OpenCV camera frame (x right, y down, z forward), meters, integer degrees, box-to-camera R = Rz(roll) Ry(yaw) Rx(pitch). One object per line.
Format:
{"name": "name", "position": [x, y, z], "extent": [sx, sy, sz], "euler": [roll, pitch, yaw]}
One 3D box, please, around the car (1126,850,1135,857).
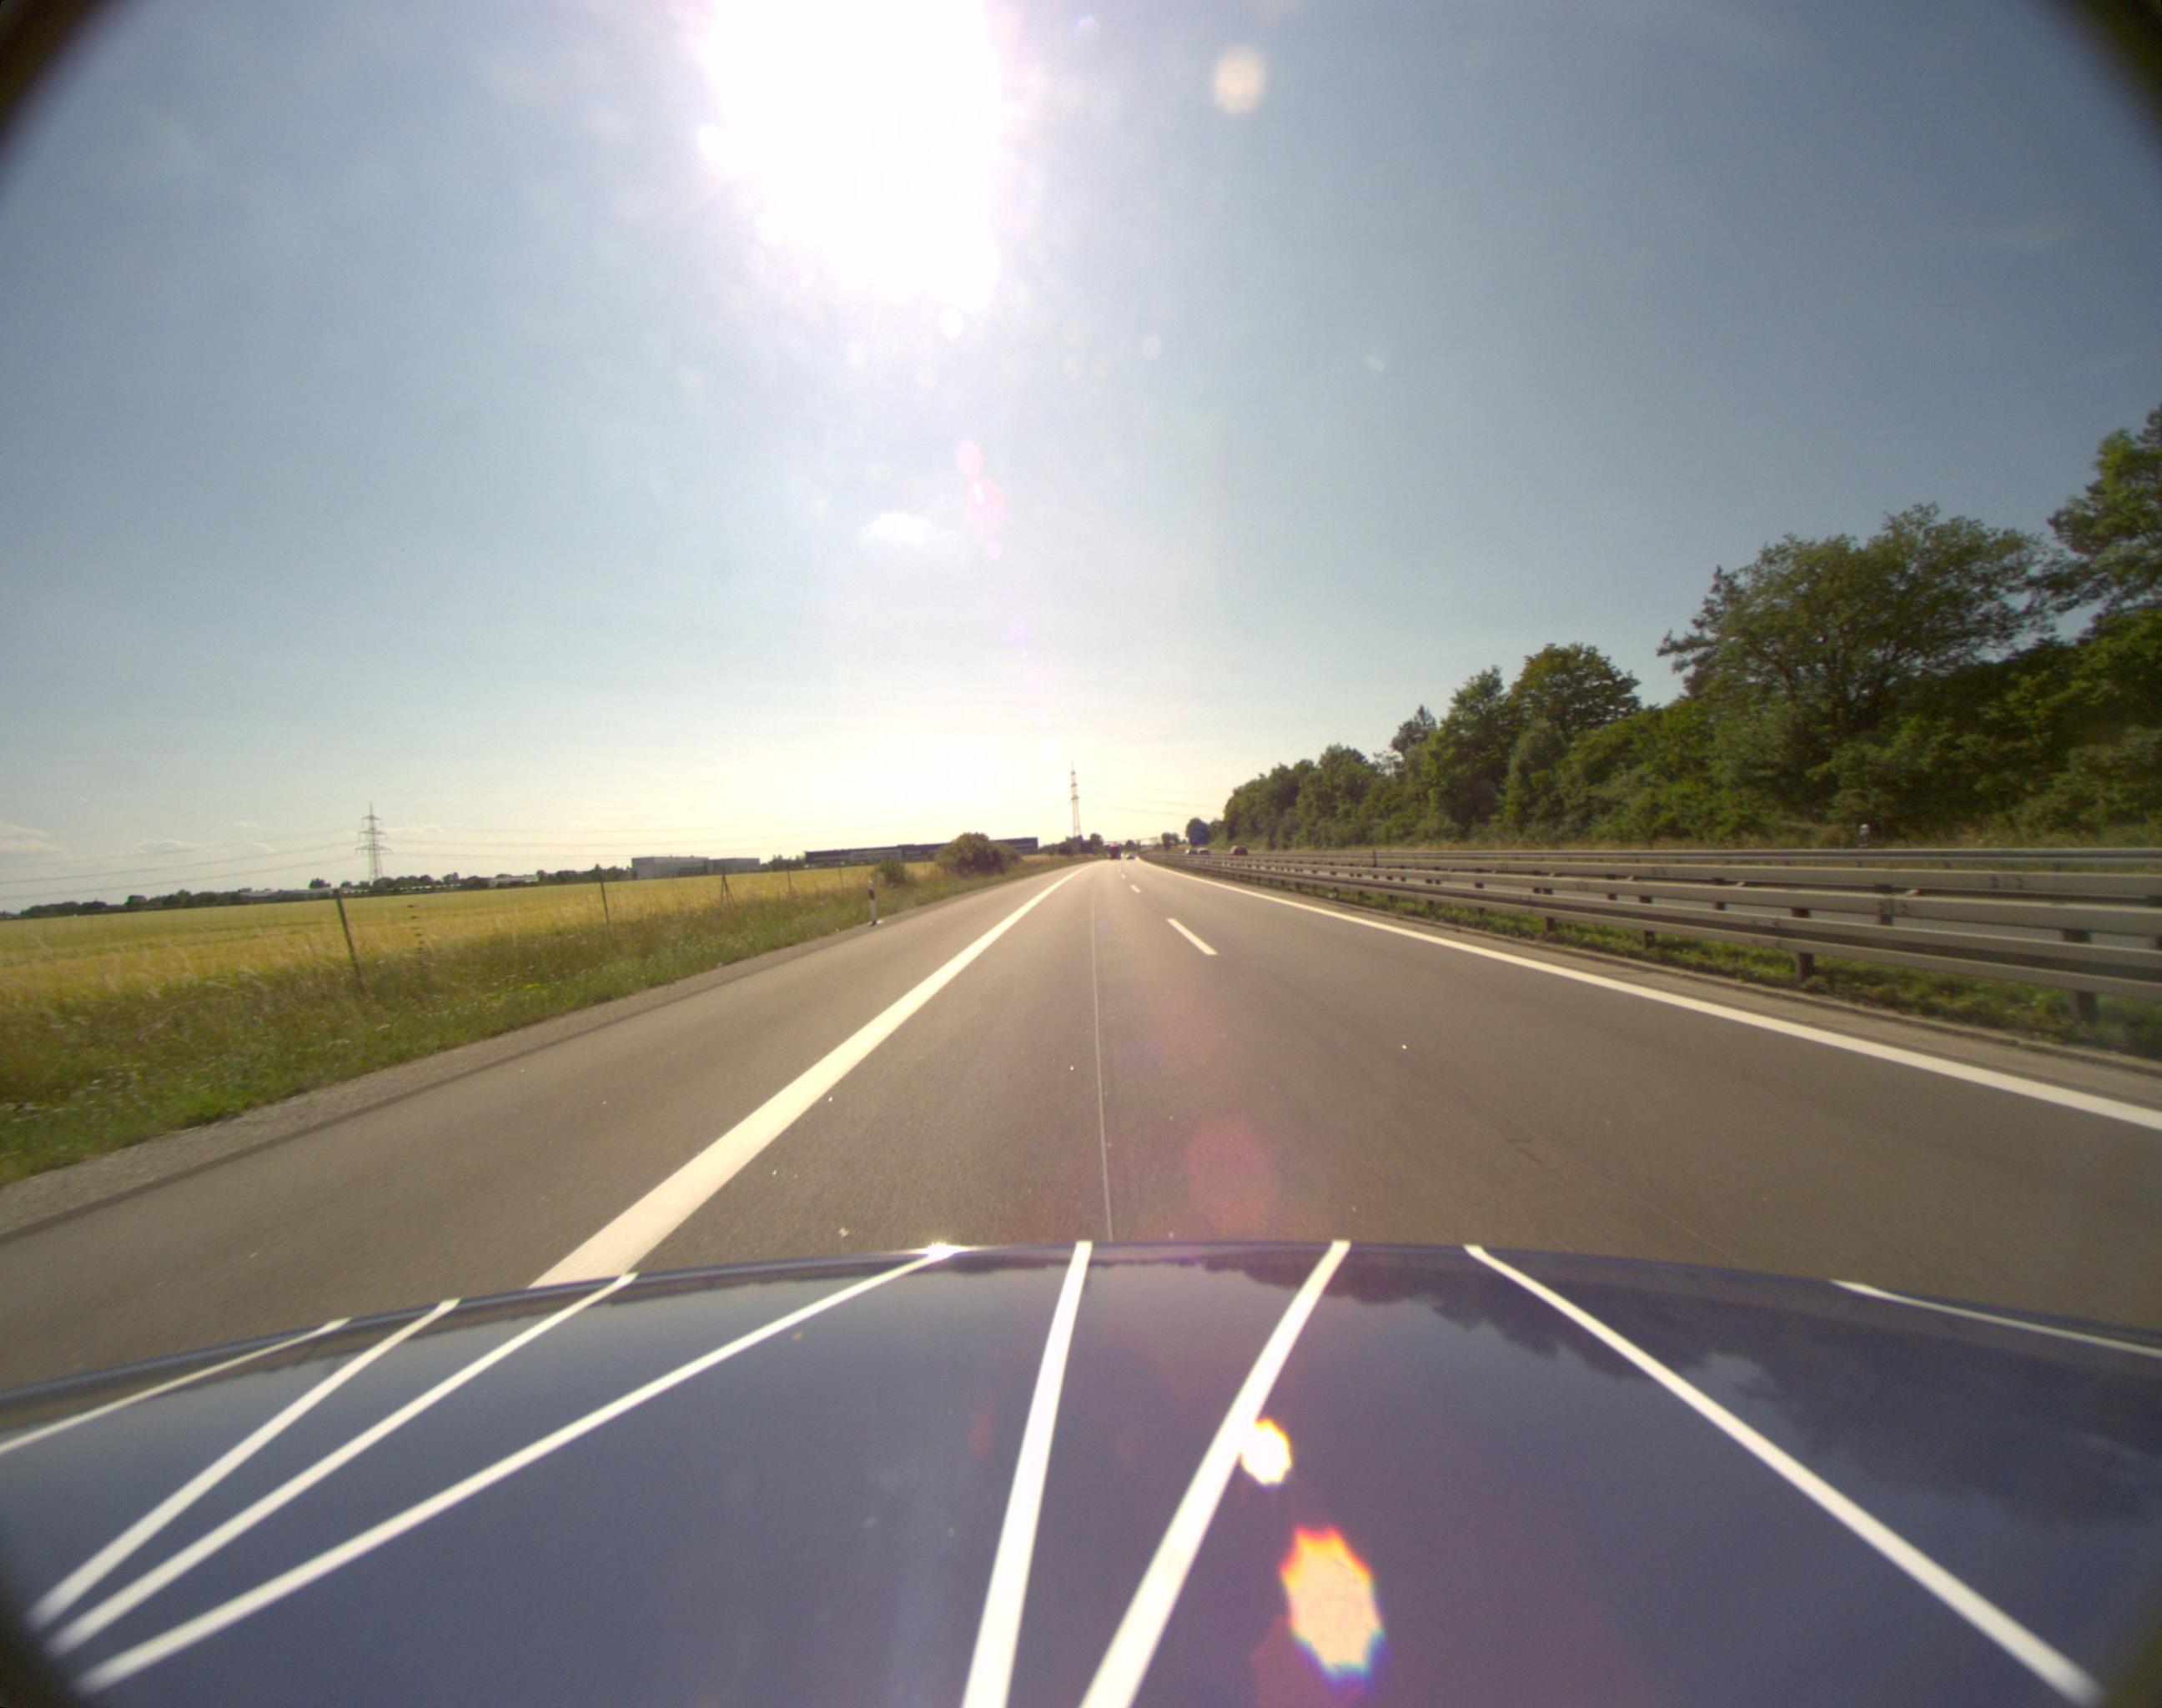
{"name": "car", "position": [10.940, -0.079, 166.984], "extent": [1.860, 1.361, 4.001], "euler": [-3, 1, 4]}

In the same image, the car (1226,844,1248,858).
{"name": "car", "position": [17.741, -0.354, 86.622], "extent": [1.653, 1.484, 4.539], "euler": [-3, 0, 1]}

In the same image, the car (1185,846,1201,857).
{"name": "car", "position": [15.429, -0.345, 104.658], "extent": [1.653, 1.484, 4.539], "euler": [-3, 0, 1]}

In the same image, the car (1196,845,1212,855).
{"name": "car", "position": [19.894, -0.644, 122.712], "extent": [1.998, 1.603, 4.637], "euler": [-3, 0, 3]}

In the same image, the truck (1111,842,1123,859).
{"name": "truck", "position": [9.159, -0.888, 192.761], "extent": [2.570, 3.939, 8.645], "euler": [-5, 0, 3]}
